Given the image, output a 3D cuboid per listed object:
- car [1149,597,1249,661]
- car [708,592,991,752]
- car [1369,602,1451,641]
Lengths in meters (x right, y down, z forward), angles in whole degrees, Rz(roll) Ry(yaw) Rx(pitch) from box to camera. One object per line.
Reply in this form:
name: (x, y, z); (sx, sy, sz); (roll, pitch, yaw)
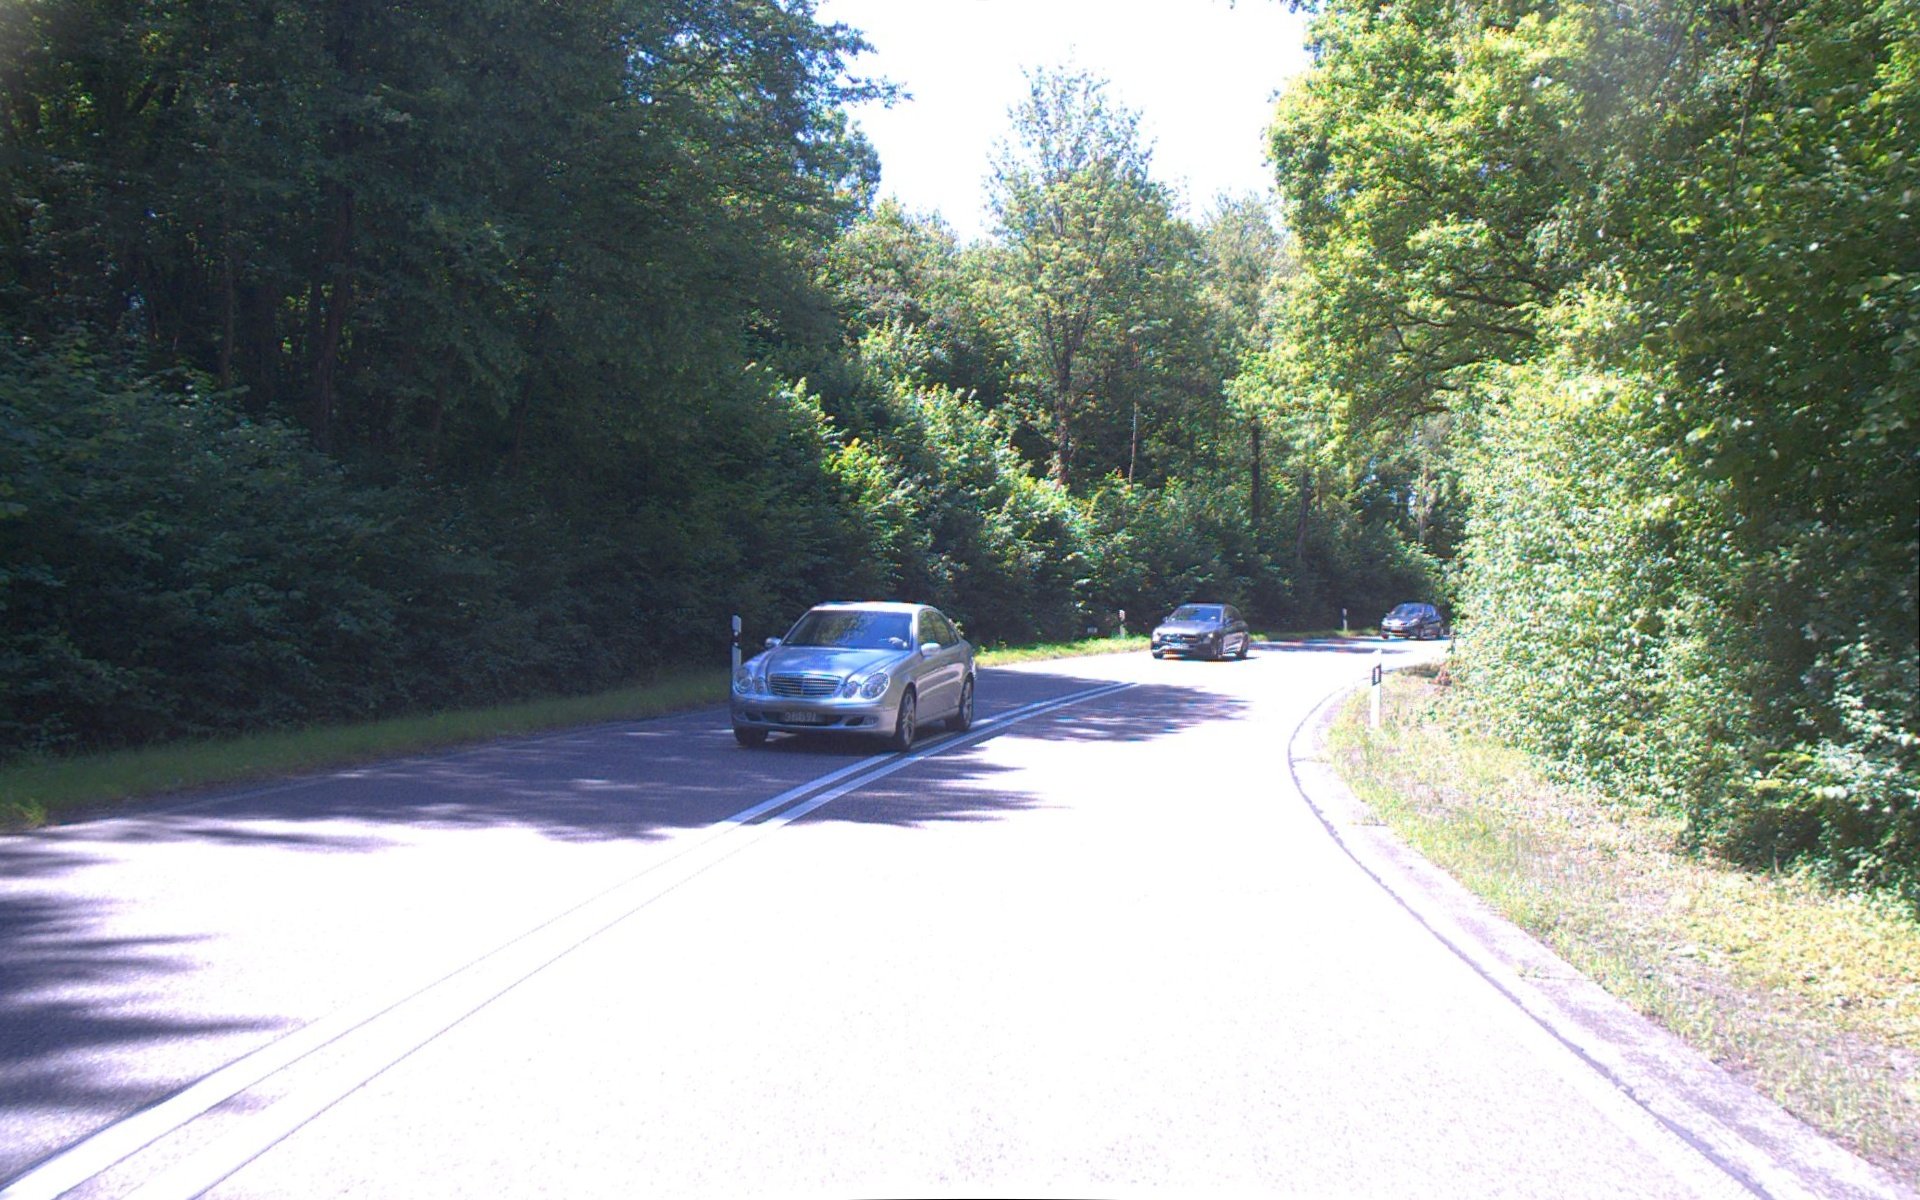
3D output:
car: (6.428, 0.753, 44.166); (1.720, 1.601, 4.367); (1, 0, 21)
car: (-1.032, 0.718, 18.152); (1.806, 1.512, 4.768); (0, -1, 13)
car: (18.681, 0.894, 68.619); (1.654, 1.601, 3.867); (-1, -1, 44)
